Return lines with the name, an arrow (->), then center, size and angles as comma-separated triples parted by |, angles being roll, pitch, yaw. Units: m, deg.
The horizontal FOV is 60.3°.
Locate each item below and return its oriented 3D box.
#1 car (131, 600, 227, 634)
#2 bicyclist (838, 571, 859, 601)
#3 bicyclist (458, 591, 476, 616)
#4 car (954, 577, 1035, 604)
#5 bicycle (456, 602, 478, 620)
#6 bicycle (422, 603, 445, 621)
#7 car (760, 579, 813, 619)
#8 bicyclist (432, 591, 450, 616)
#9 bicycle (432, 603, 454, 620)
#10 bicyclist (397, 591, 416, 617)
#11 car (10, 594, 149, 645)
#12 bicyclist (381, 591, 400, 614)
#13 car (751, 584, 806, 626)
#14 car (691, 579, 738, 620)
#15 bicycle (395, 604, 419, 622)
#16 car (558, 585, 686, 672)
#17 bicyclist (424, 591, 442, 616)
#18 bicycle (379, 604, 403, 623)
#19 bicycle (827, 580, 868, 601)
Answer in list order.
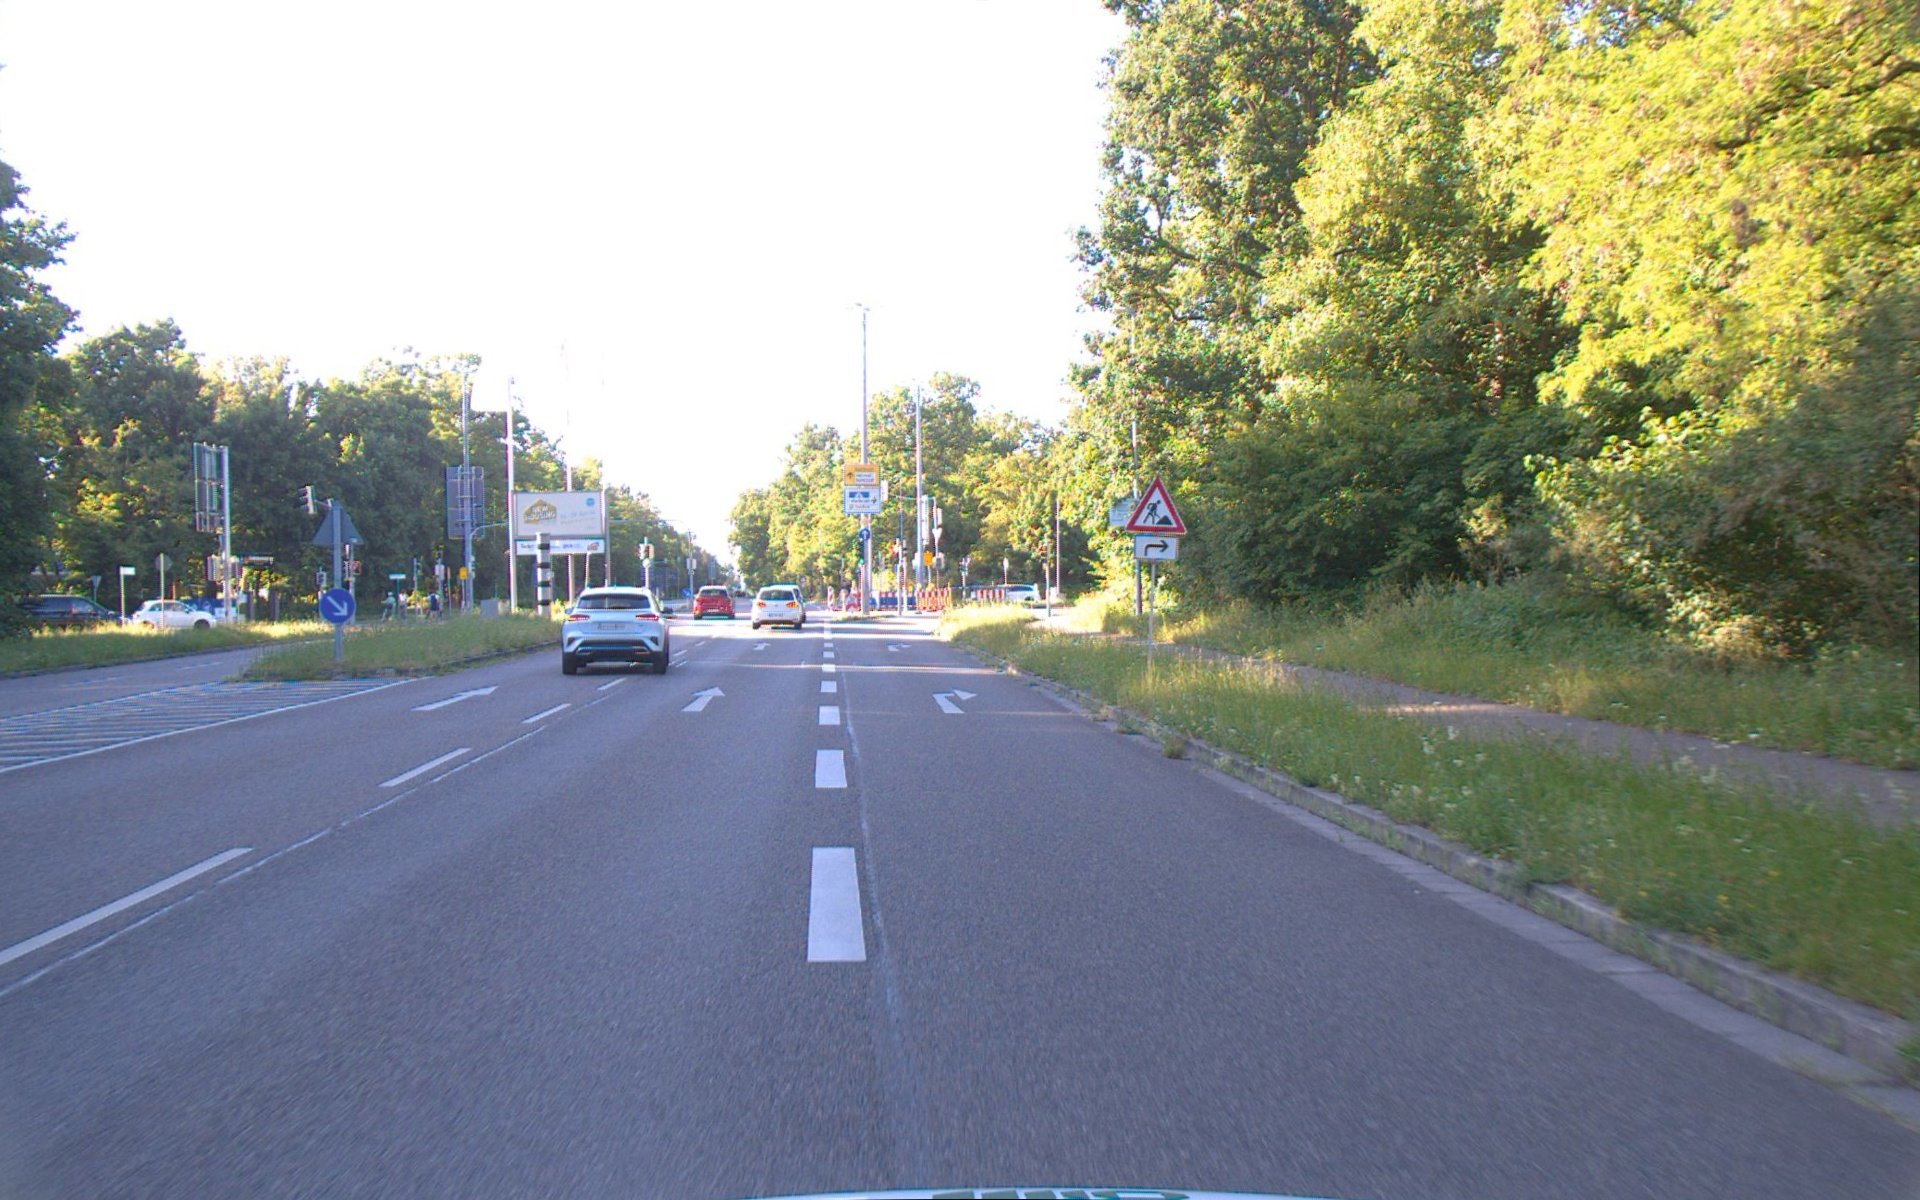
car -> -35.294, 0.733, 74.733 | 3.749, 1.413, 1.908 | -2, 1, -31
bicyclist -> -7.303, -0.922, 108.152 | 1.005, 1.963, 0.956 | 0, 0, -37
bicyclist -> -27.606, 0.210, 92.621 | 0.700, 1.362, 0.990 | -1, 0, -2
car -> 2.195, -0.603, 105.240 | 4.761, 1.608, 1.983 | -1, 0, -27
bicycle -> -27.599, 0.611, 92.565 | 0.700, 0.930, 1.910 | -1, 1, -2
bicycle -> -29.441, 0.657, 92.464 | 0.700, 0.930, 1.910 | -1, 1, -2
car -> -7.248, -0.038, 68.702 | 1.957, 1.563, 3.991 | -1, 1, -9
bicyclist -> -29.546, 0.188, 94.091 | 0.700, 1.365, 0.990 | -1, 0, -2
bicycle -> -29.552, 0.631, 94.552 | 0.700, 0.930, 1.910 | -1, 1, -2
bicyclist -> -30.605, 0.241, 91.476 | 0.696, 1.414, 0.990 | -1, 0, -2
car -> -35.521, 0.769, 66.742 | 4.868, 1.861, 1.908 | -2, 1, -31
bicyclist -> -31.500, 0.140, 91.502 | 0.700, 1.213, 0.990 | -1, 0, -2
car -> -6.579, 0.157, 60.033 | 1.903, 1.439, 3.995 | -1, 1, -6
car -> -10.792, -0.046, 72.625 | 1.957, 1.714, 3.991 | -1, 1, -9
bicycle -> -30.593, 0.731, 91.514 | 0.700, 0.930, 1.910 | -1, 1, -2
car -> -6.059, 0.466, 30.065 | 1.827, 1.469, 3.996 | 0, 0, -5
bicyclist -> -29.448, 0.215, 92.457 | 0.700, 1.379, 0.990 | -1, 0, -2
bicycle -> -31.487, 0.742, 91.506 | 0.700, 0.930, 1.910 | -1, 1, -2
bicycle -> -7.323, -0.621, 108.128 | 2.612, 1.407, 0.955 | 0, 1, -38
